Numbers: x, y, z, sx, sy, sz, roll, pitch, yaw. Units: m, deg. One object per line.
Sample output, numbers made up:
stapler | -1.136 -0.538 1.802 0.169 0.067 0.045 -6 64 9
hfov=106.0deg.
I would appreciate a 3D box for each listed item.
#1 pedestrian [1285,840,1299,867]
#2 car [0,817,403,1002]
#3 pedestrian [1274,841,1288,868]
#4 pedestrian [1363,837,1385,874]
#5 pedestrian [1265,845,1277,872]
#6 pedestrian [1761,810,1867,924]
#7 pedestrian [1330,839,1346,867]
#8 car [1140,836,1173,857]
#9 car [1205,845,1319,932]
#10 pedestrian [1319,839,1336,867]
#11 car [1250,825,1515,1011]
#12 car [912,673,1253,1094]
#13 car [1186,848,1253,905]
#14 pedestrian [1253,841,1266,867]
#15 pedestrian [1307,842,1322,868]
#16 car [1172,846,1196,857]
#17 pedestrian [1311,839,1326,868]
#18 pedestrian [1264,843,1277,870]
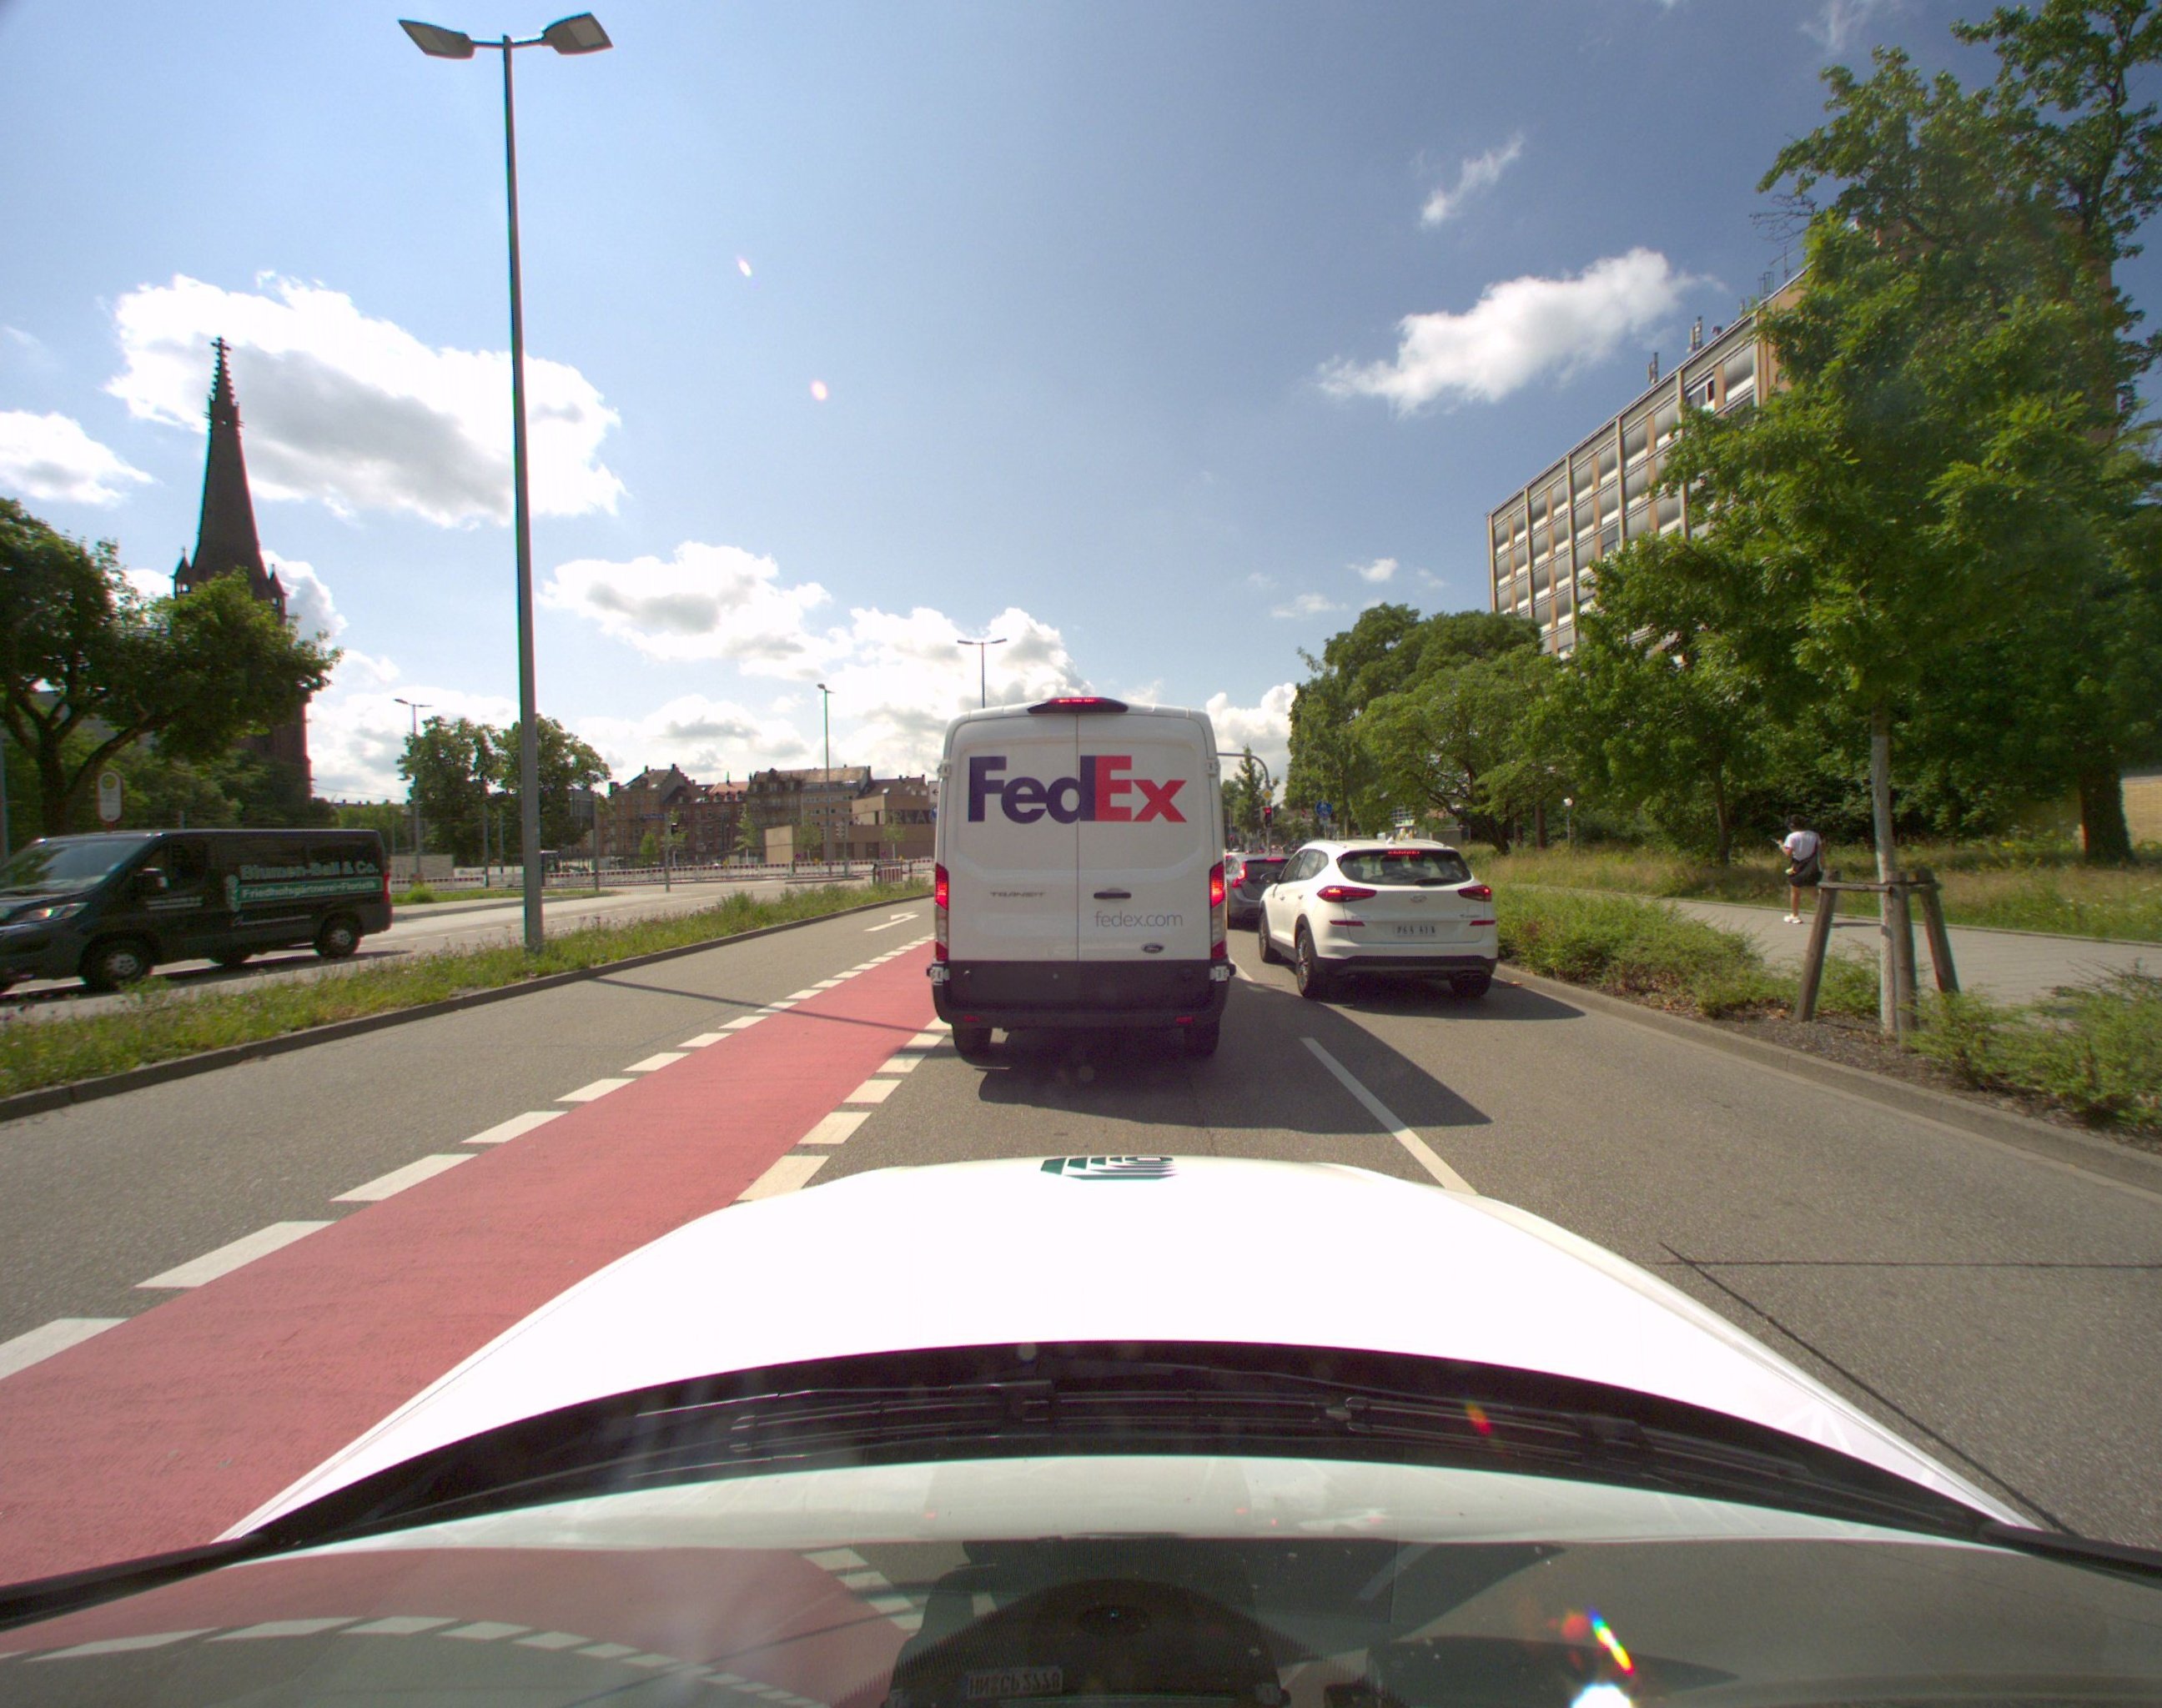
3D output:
pedestrian | 14.541 -0.047 56.157 0.755 1.849 0.817 -2 0 5
car | -13.489 0.695 12.246 2.140 2.175 5.021 -4 0 2
pedestrian | 13.630 0.030 55.550 0.755 1.849 0.817 -2 0 3
pedestrian | 13.561 0.063 37.704 0.755 1.655 0.817 -2 0 5
pedestrian | 13.730 0.323 58.874 0.753 1.849 0.820 -2 0 16
pedestrian | 10.527 0.175 11.729 0.756 1.557 0.817 -2 0 2
pedestrian | 17.720 -0.082 56.145 0.758 1.849 0.814 -2 0 -6
car | 10.342 -0.983 111.206 2.466 2.717 7.122 -1 -1 22
car | 3.610 0.623 16.846 1.684 1.549 3.724 -2 0 3
pedestrian | 16.878 -0.076 55.757 0.758 1.849 0.814 -2 0 -8
car | 3.208 0.582 9.550 1.807 1.678 3.978 -2 0 3
car | 0.134 0.176 7.316 2.064 2.581 4.432 -2 0 3
car | 3.919 0.596 23.401 1.493 1.464 3.477 -2 0 3
pedestrian | 13.077 0.001 59.743 0.810 1.849 0.762 -2 0 5
pedestrian | 16.936 0.100 59.049 0.756 1.849 0.816 -2 0 -1
car | 19.324 -0.441 153.030 4.316 1.872 1.929 0 -1 6
pedestrian | 15.092 -0.041 51.714 0.754 1.789 0.818 -2 0 10
pedestrian | 13.168 0.144 56.531 0.752 1.849 0.820 -2 0 20
